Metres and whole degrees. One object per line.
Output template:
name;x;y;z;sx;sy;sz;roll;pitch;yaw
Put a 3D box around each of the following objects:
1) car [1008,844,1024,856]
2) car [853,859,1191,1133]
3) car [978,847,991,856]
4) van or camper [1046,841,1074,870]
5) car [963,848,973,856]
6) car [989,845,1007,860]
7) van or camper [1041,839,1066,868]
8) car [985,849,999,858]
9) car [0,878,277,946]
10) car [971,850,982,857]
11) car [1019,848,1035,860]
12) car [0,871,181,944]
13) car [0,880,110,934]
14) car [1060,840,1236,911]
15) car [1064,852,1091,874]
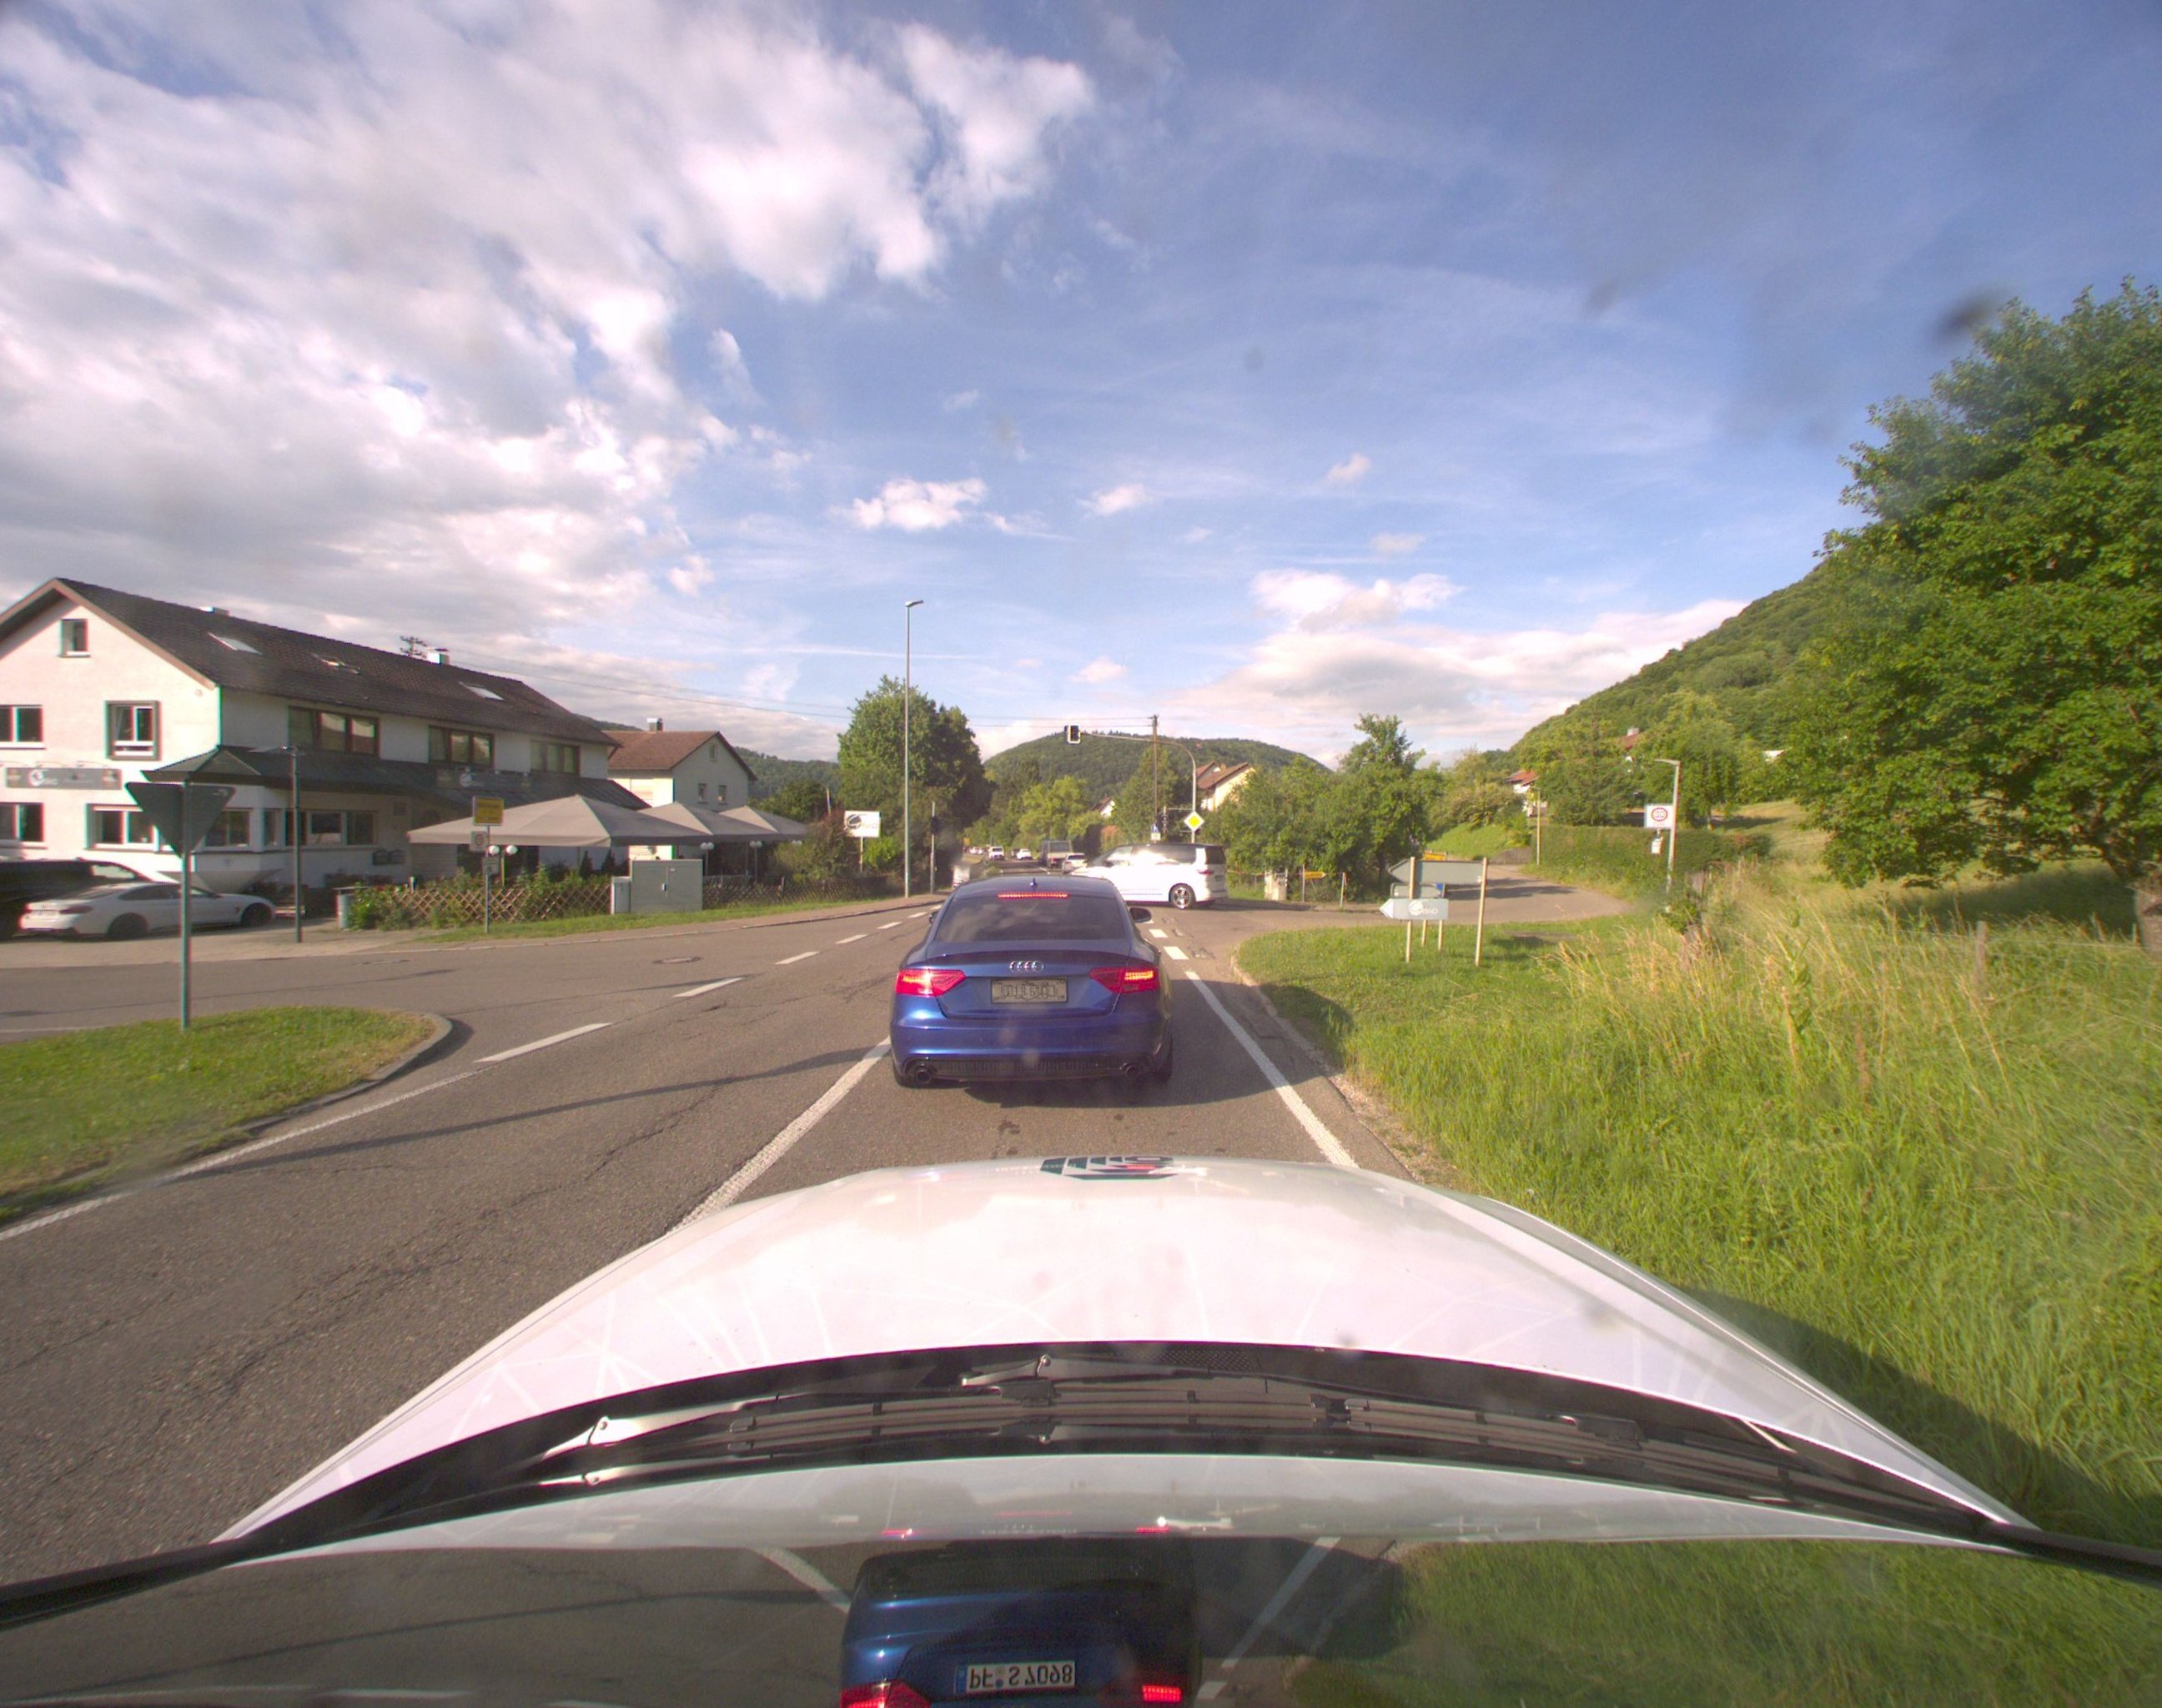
car;-9.723;-0.561;121.626;1.798;1.794;3.982;-1;0;-13
car;-0.315;0.796;6.612;1.824;1.409;4.226;-2;0;0
car;-18.656;-0.410;157.022;1.944;1.684;3.982;-2;0;-13
van or camper;-1.891;0.118;72.181;2.176;2.385;5.362;-1;0;-4
car;-24.852;-0.428;178.469;1.774;1.783;3.982;-1;0;-13
car;-11.338;-0.222;110.924;1.994;1.903;5.234;-2;1;-11
van or camper;-2.918;-0.105;85.999;2.410;2.904;6.122;-1;0;-4
car;-16.259;-0.139;148.616;2.045;1.684;3.978;-1;1;-16
car;-24.657;1.450;21.536;1.984;1.389;4.582;-2;0;5
car;-21.297;-0.051;166.049;1.944;1.424;3.982;-1;1;-13
car;-7.334;0.008;110.209;1.819;1.552;3.986;-1;0;-10
car;-27.342;1.383;21.431;1.984;1.685;4.582;-2;0;5
car;-30.411;1.525;22.294;1.984;1.389;4.582;-2;0;5
car;1.986;0.563;24.333;4.810;1.876;2.012;2;1;26
car;-0.239;0.618;56.141;1.765;1.415;4.174;1;0;0
